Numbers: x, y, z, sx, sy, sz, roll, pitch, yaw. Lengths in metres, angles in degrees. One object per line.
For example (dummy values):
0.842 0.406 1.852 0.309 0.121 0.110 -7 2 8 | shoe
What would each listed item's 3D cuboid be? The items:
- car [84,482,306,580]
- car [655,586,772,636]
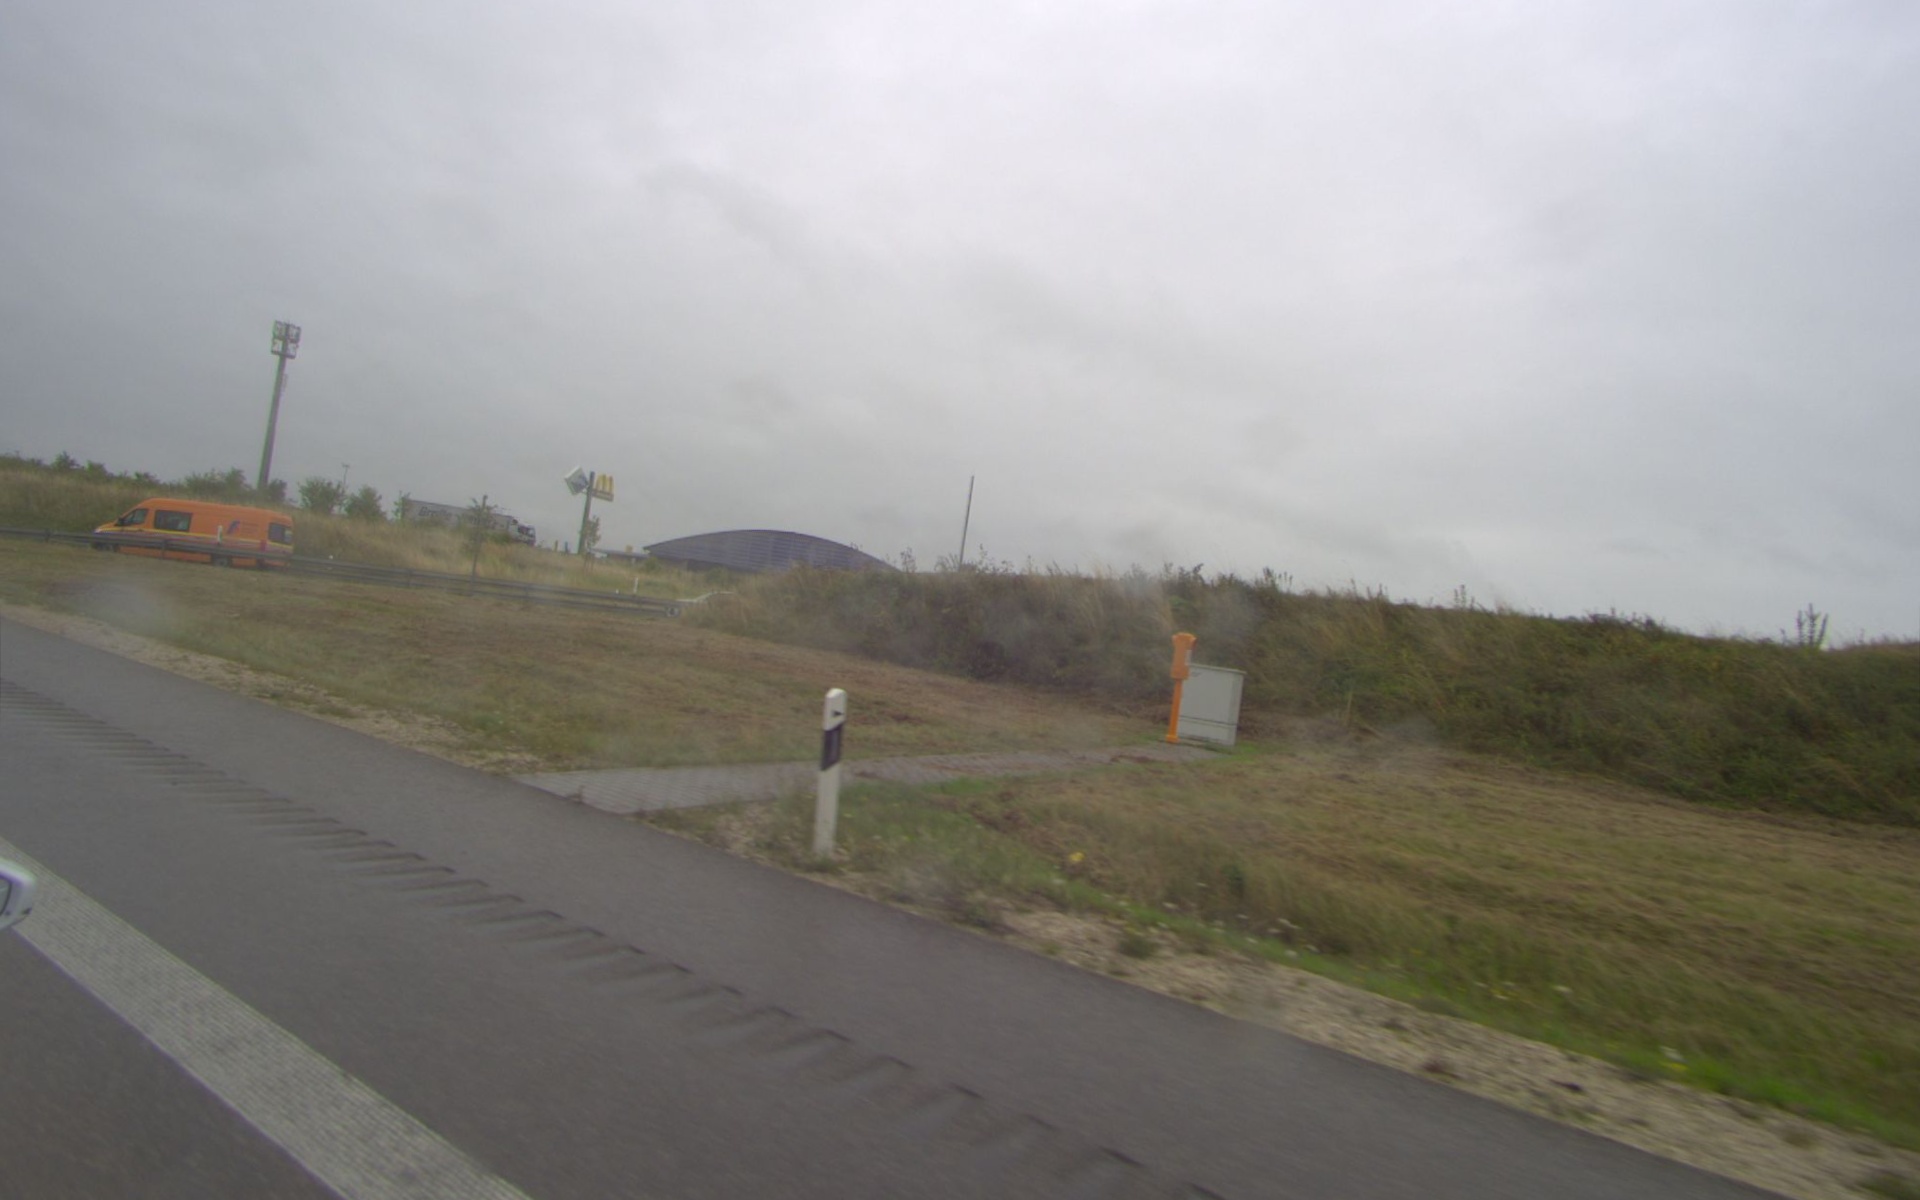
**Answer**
-30.269 -2.693 39.982 6.764 2.644 2.068 9 -2 -3 | car
-10.420 0.454 42.521 4.420 1.503 1.904 8 -1 -23 | car
